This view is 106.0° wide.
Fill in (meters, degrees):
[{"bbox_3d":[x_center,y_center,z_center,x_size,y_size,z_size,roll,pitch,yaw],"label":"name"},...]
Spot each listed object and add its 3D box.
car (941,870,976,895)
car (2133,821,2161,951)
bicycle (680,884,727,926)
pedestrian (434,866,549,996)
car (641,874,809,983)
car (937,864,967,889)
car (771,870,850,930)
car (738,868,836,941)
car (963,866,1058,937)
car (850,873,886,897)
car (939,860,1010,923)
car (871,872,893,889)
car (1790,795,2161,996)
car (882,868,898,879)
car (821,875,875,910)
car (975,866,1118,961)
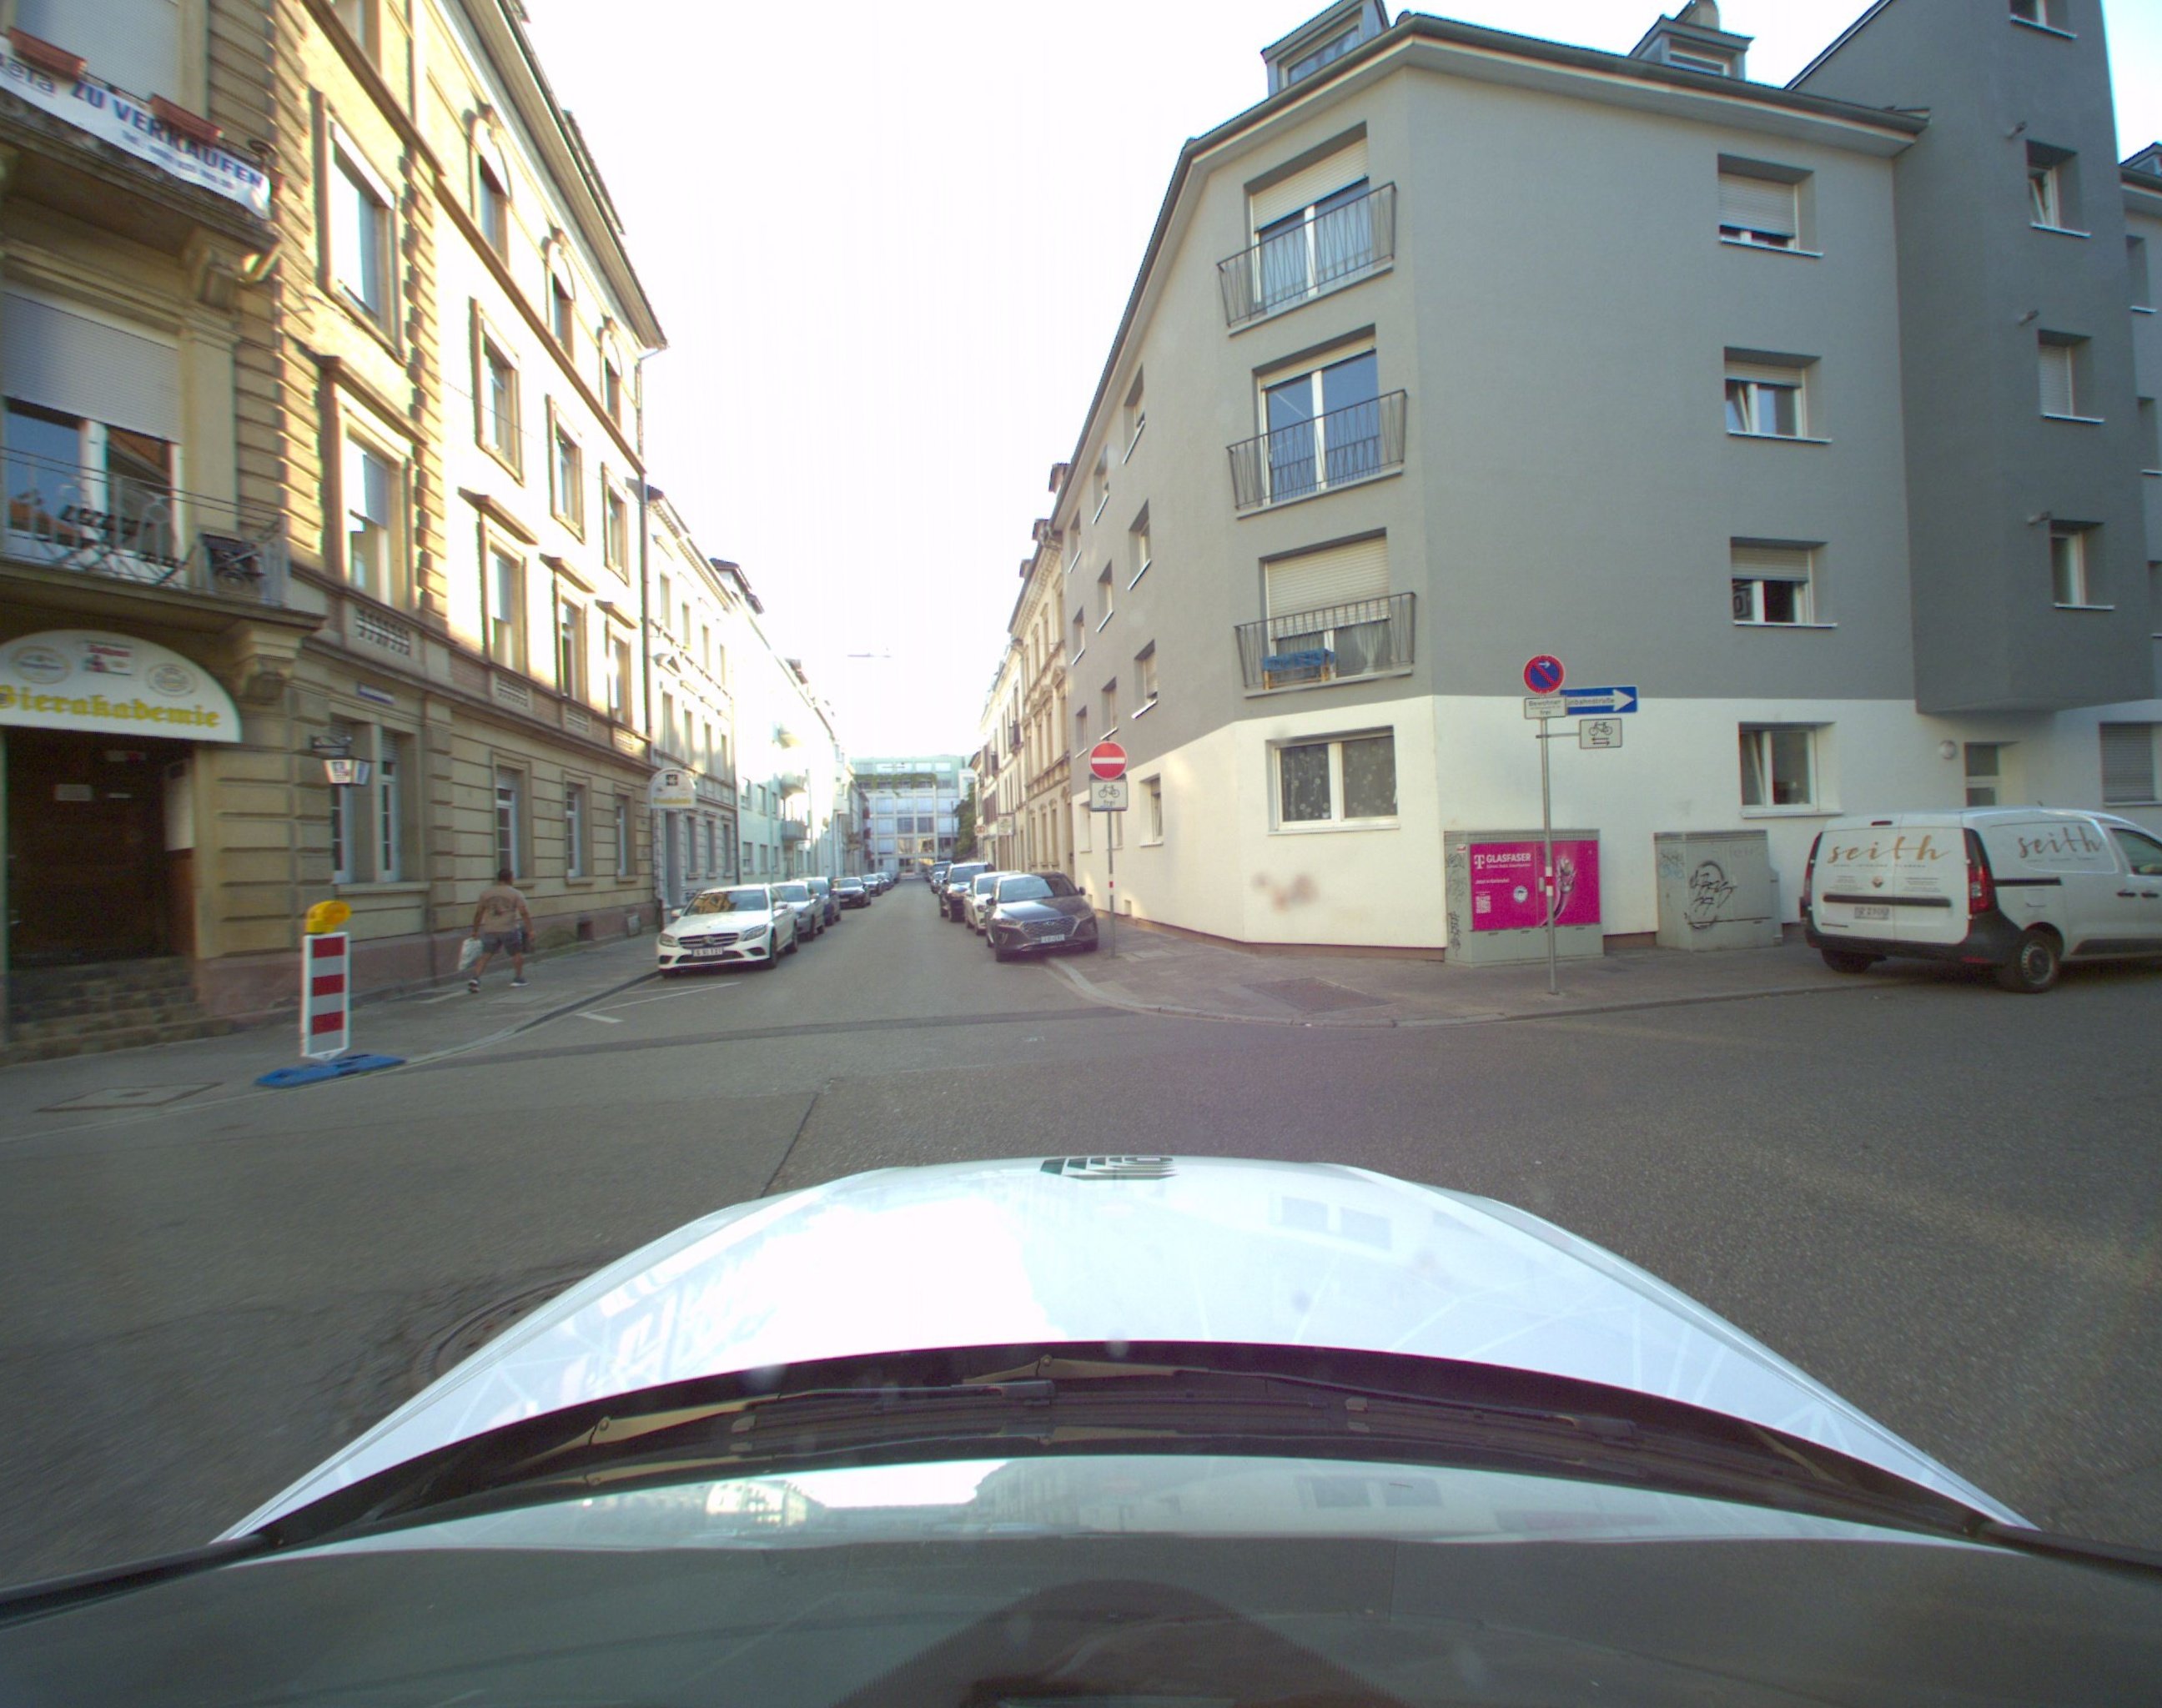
[{"bbox_3d":[-7.700,1.748,50.811,1.994,1.451,3.986,-2,0,-10],"label":"car"},{"bbox_3d":[15.318,0.280,9.776,4.361,1.564,1.759,-3,-1,-16],"label":"car"},{"bbox_3d":[-11.733,1.544,25.398,0.738,1.160,2.451,-2,-1,-11],"label":"bicycle"},{"bbox_3d":[-8.491,1.068,11.788,0.982,1.742,1.012,-2,-1,-12],"label":"pedestrian"},{"bbox_3d":[-6.373,1.217,15.148,1.996,1.564,4.486,-2,0,-13],"label":"car"},{"bbox_3d":[-9.716,1.662,61.268,1.995,1.700,3.983,-2,0,-12],"label":"car"},{"bbox_3d":[-8.556,1.405,26.069,1.785,1.659,3.803,-2,0,-10],"label":"car"},{"bbox_3d":[-7.292,1.190,20.495,1.625,1.577,3.741,-2,0,-10],"label":"car"},{"bbox_3d":[-1.918,1.133,20.939,1.965,1.557,3.873,-2,0,-12],"label":"car"},{"bbox_3d":[-14.232,2.040,54.678,2.176,1.418,3.981,-2,0,-13],"label":"car"},{"bbox_3d":[-3.500,1.124,26.124,1.895,1.784,3.983,-2,0,-12],"label":"car"},{"bbox_3d":[-17.404,2.287,71.413,1.709,1.302,3.983,-2,0,-12],"label":"car"},{"bbox_3d":[10.210,0.349,8.811,4.175,1.814,1.629,-2,-1,-12],"label":"car"},{"bbox_3d":[-25.066,2.550,106.930,1.996,1.309,3.865,-2,0,-13],"label":"car"},{"bbox_3d":[-10.653,1.708,37.436,1.995,1.355,4.411,-2,0,-12],"label":"car"},{"bbox_3d":[-0.771,0.977,15.004,1.940,1.372,3.772,-4,0,-12],"label":"car"}]
